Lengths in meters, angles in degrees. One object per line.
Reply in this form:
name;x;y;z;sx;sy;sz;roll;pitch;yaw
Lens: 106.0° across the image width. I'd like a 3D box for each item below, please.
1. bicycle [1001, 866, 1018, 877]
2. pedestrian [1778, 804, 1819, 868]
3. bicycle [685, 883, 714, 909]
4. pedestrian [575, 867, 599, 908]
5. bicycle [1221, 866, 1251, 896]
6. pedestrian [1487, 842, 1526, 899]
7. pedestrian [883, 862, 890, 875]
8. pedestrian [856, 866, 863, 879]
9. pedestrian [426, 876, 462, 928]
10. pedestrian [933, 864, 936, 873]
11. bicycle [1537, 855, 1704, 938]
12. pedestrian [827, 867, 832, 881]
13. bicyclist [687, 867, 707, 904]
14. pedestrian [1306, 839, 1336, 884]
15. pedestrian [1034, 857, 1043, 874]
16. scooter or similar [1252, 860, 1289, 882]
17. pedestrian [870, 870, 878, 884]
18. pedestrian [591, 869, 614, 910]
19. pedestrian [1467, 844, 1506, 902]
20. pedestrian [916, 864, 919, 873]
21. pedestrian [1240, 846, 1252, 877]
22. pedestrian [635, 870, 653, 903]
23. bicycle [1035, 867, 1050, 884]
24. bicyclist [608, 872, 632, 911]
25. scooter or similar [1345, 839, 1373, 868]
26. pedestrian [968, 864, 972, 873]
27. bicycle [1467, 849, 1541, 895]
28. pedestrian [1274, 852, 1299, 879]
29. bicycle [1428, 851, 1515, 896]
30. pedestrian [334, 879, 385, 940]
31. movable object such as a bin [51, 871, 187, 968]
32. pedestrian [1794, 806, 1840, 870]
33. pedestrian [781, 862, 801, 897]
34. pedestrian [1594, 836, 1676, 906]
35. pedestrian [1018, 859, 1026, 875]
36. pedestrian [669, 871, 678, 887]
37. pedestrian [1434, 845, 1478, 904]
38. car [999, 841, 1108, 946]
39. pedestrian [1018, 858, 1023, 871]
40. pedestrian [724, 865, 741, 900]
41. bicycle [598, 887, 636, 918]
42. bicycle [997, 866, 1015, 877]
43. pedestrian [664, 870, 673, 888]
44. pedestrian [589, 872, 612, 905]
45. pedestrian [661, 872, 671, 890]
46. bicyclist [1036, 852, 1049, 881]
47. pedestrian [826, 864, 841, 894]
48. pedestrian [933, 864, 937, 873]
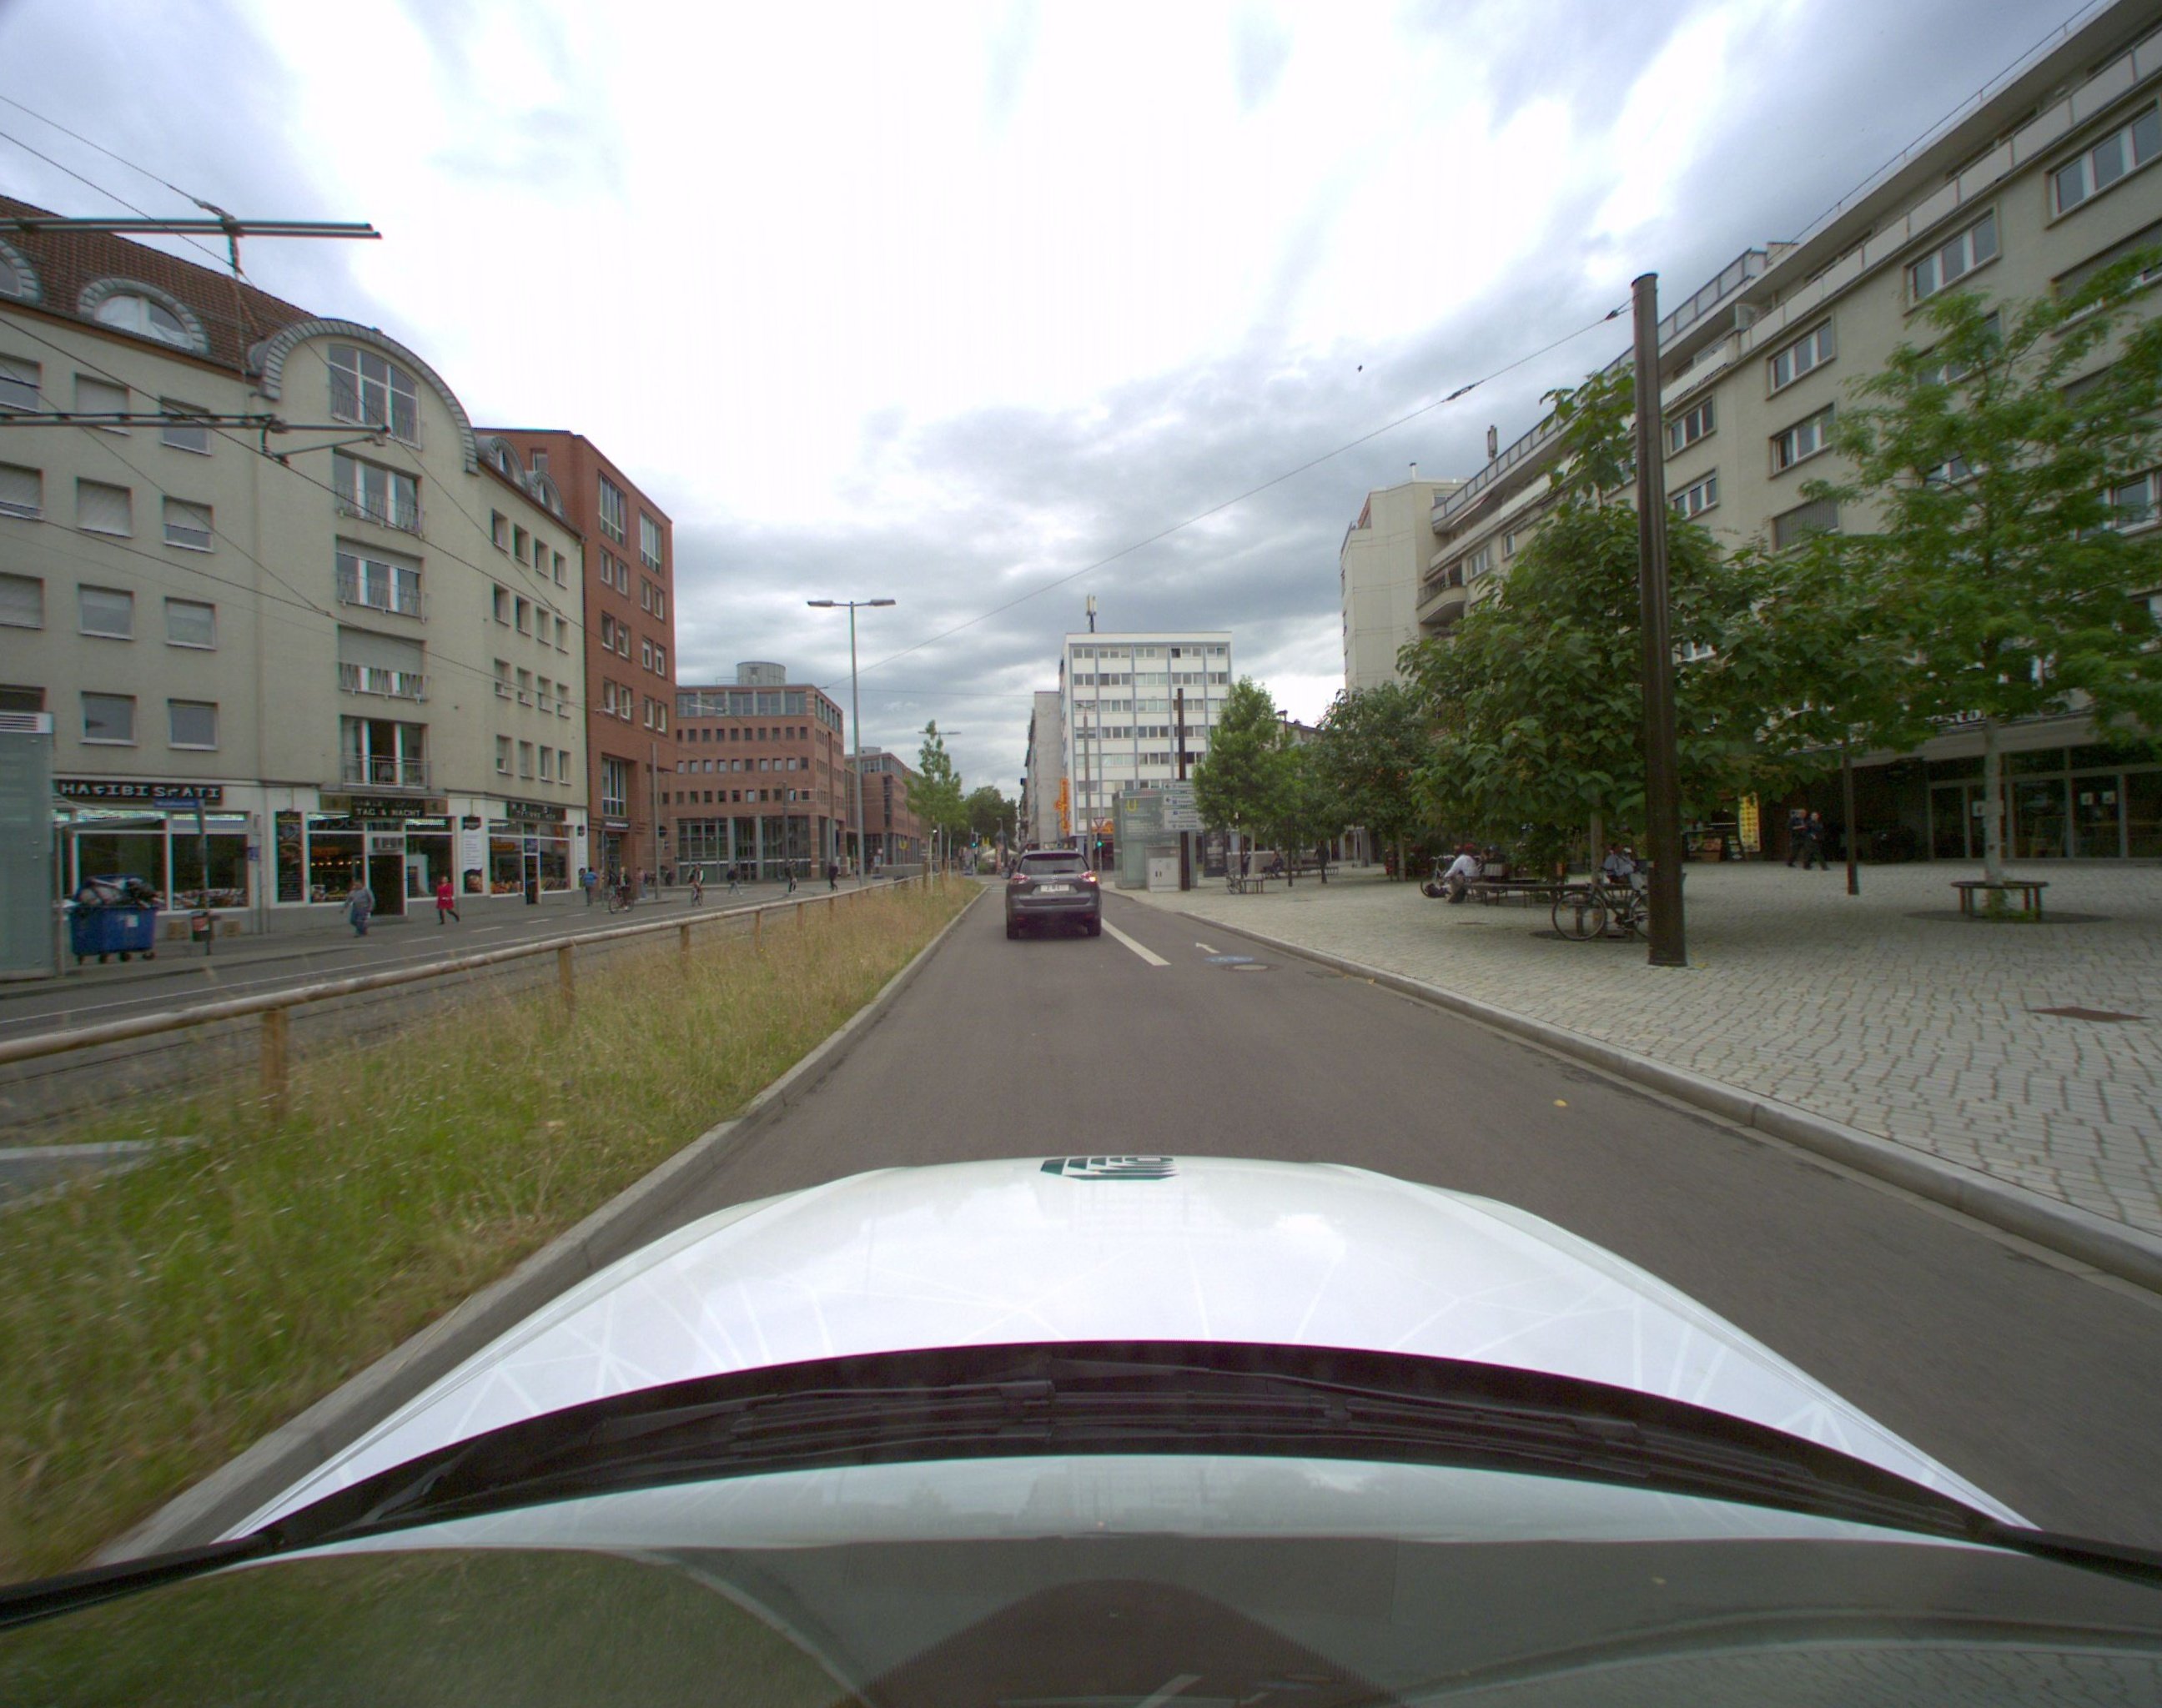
bicycle;-7.747;1.904;88.293;1.701;1.065;0.434;-1;-1;-19
pedestrian;21.513;-0.523;24.423;0.766;1.885;0.858;-1;-1;33
bicycle;-16.252;1.788;34.724;0.475;1.021;1.908;-2;0;-6
pedestrian;-20.879;1.429;34.421;0.661;1.687;0.719;-2;-2;-14
bicycle;5.688;0.976;29.772;0.652;0.978;1.764;-2;0;24
pedestrian;10.533;0.399;20.193;0.539;1.366;1.285;-1;-1;13
pedestrian;-27.855;2.132;116.443;0.695;1.842;0.737;-1;-1;14
pedestrian;-30.738;2.582;112.961;0.736;1.842;0.696;-1;-1;-30
pedestrian;-21.515;1.607;27.520;0.722;1.687;0.658;-2;-2;-16
pedestrian;-26.602;2.642;147.679;0.601;1.714;0.653;-1;-1;-12
bicycle;7.652;0.596;11.614;1.904;1.123;0.646;-1;-1;5
pedestrian;-27.405;2.182;88.894;0.451;1.532;0.518;-1;-1;-23
bicyclist;-16.259;1.313;34.485;0.490;1.540;0.810;-2;0;-7
pedestrian;10.018;0.307;33.975;0.712;1.802;1.076;-5;-1;-6
pedestrian;-4.556;1.252;87.313;0.713;1.832;1.012;-1;-1;-13
scooter or similar;9.401;0.848;40.473;1.571;0.948;0.729;-4;-1;33
pedestrian;-28.193;3.088;110.921;0.738;1.842;0.695;0;-1;-36
pedestrian;-20.159;1.476;34.330;0.662;1.687;0.718;-2;-2;-17
pedestrian;9.763;0.452;19.620;0.623;1.366;0.922;-1;-1;12
pedestrian;-30.260;2.638;150.875;0.601;1.714;0.653;-1;-1;-12
pedestrian;9.493;0.434;46.808;0.667;1.761;0.643;-1;-1;10
pedestrian;-22.550;1.663;41.997;0.569;1.684;0.796;0;-2;-9
bicycle;-2.479;1.354;52.217;0.899;1.045;3.274;-2;0;-2
bicyclist;-17.245;1.398;30.473;0.478;1.407;0.810;-2;0;-6
scooter or similar;18.044;-0.022;52.951;1.079;1.806;2.276;-2;0;4
pedestrian;-18.621;2.389;136.365;0.601;1.536;0.653;-1;-1;-12
bicycle;11.099;0.478;21.393;1.591;1.111;0.479;-3;0;9
pedestrian;10.364;0.591;41.064;1.041;1.297;0.733;-3;-1;0
bicycle;10.518;0.530;21.995;2.021;1.111;0.479;-3;0;10
pedestrian;-20.881;1.601;23.577;0.715;1.687;0.828;-3;-2;15
movable object such as a bin;-21.105;1.403;17.922;1.027;1.981;1.617;-2;-2;2
pedestrian;20.839;-0.452;23.075;0.766;1.751;0.722;-4;0;33
pedestrian;-16.127;1.408;45.318;0.896;1.890;0.797;0;-2;-7
pedestrian;11.342;0.345;16.725;0.627;1.366;1.406;-1;-1;-6
pedestrian;-6.432;1.380;88.170;0.733;1.746;0.660;-1;-1;-13
pedestrian;-39.556;2.464;79.103;0.745;1.561;0.569;0;-2;-26
pedestrian;8.926;0.478;19.402;0.631;1.366;0.682;-1;-1;-24
car;-0.663;0.726;17.062;1.860;1.774;4.559;-4;0;-4
pedestrian;-8.262;1.441;110.921;0.642;1.705;0.558;-1;-1;-4
pedestrian;-19.543;1.589;45.691;0.610;1.890;0.797;-2;-1;-7
bicycle;-17.192;1.788;30.232;0.478;1.021;1.908;-2;0;-6
bicycle;-8.130;1.885;88.711;1.873;1.172;0.527;-1;-1;-20
pedestrian;-39.145;2.326;77.201;0.746;1.688;0.569;0;-2;-29
pedestrian;-24.772;1.772;41.984;0.743;1.684;0.796;0;-2;-9
pedestrian;-37.513;2.448;73.620;0.570;1.561;0.744;-1;-2;0
bicyclist;-2.460;0.774;51.934;0.832;1.812;0.877;-1;-1;-3
pedestrian;-14.346;1.453;47.193;0.743;1.684;0.796;0;-2;-9
pedestrian;-28.288;2.735;157.816;0.601;1.714;0.653;-1;-1;-12
